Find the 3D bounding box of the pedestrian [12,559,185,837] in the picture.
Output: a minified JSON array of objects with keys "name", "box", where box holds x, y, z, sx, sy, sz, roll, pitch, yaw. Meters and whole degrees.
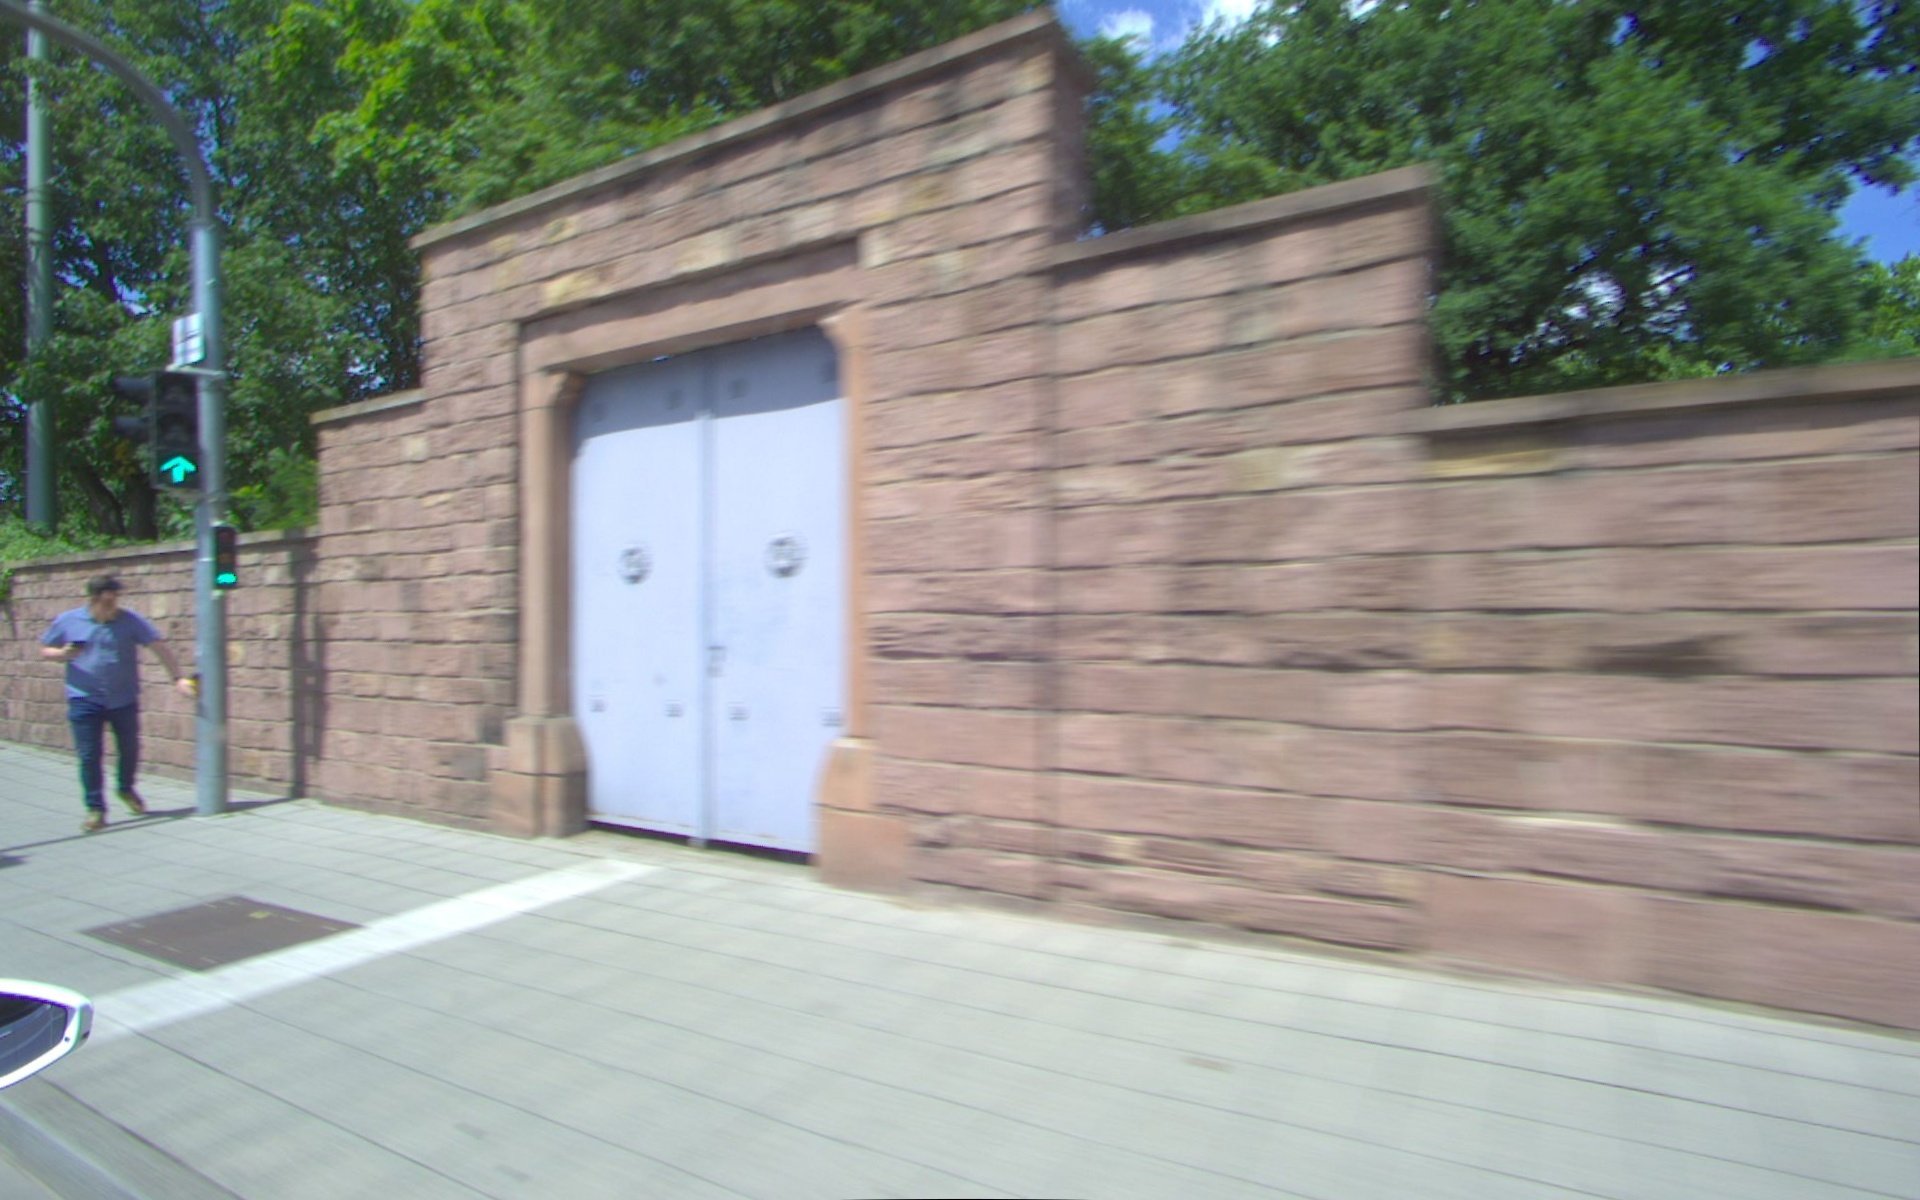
[{"name":"pedestrian","box":[-6.270,0.665,7.295,0.758,1.877,0.712,-1,3,38]}]
